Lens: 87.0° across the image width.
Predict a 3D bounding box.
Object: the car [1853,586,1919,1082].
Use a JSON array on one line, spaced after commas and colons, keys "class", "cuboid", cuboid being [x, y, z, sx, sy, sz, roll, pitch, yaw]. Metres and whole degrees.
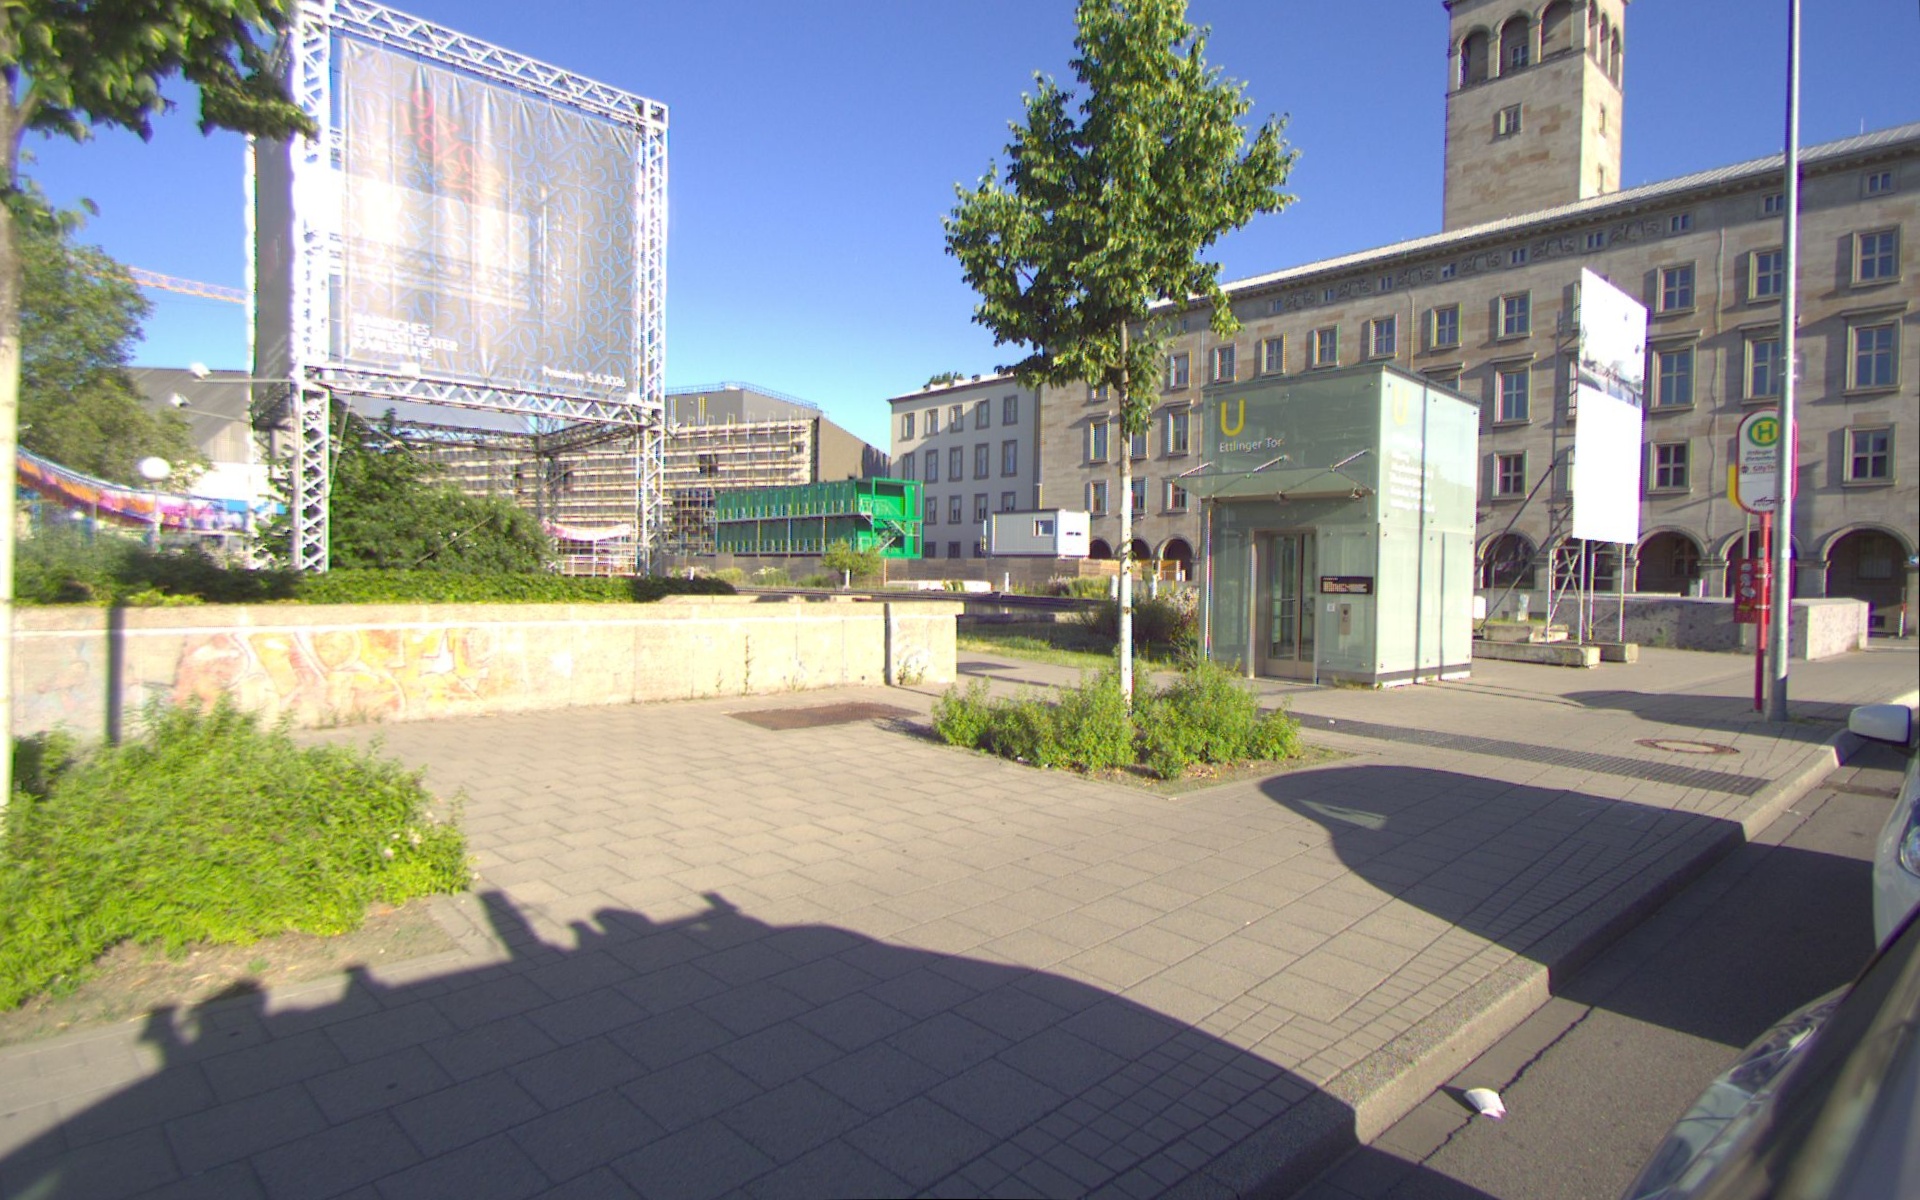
[{"class": "car", "cuboid": [4.799, 0.693, 3.799, 3.899, 1.490, 1.658, 0, 0, -41]}]
